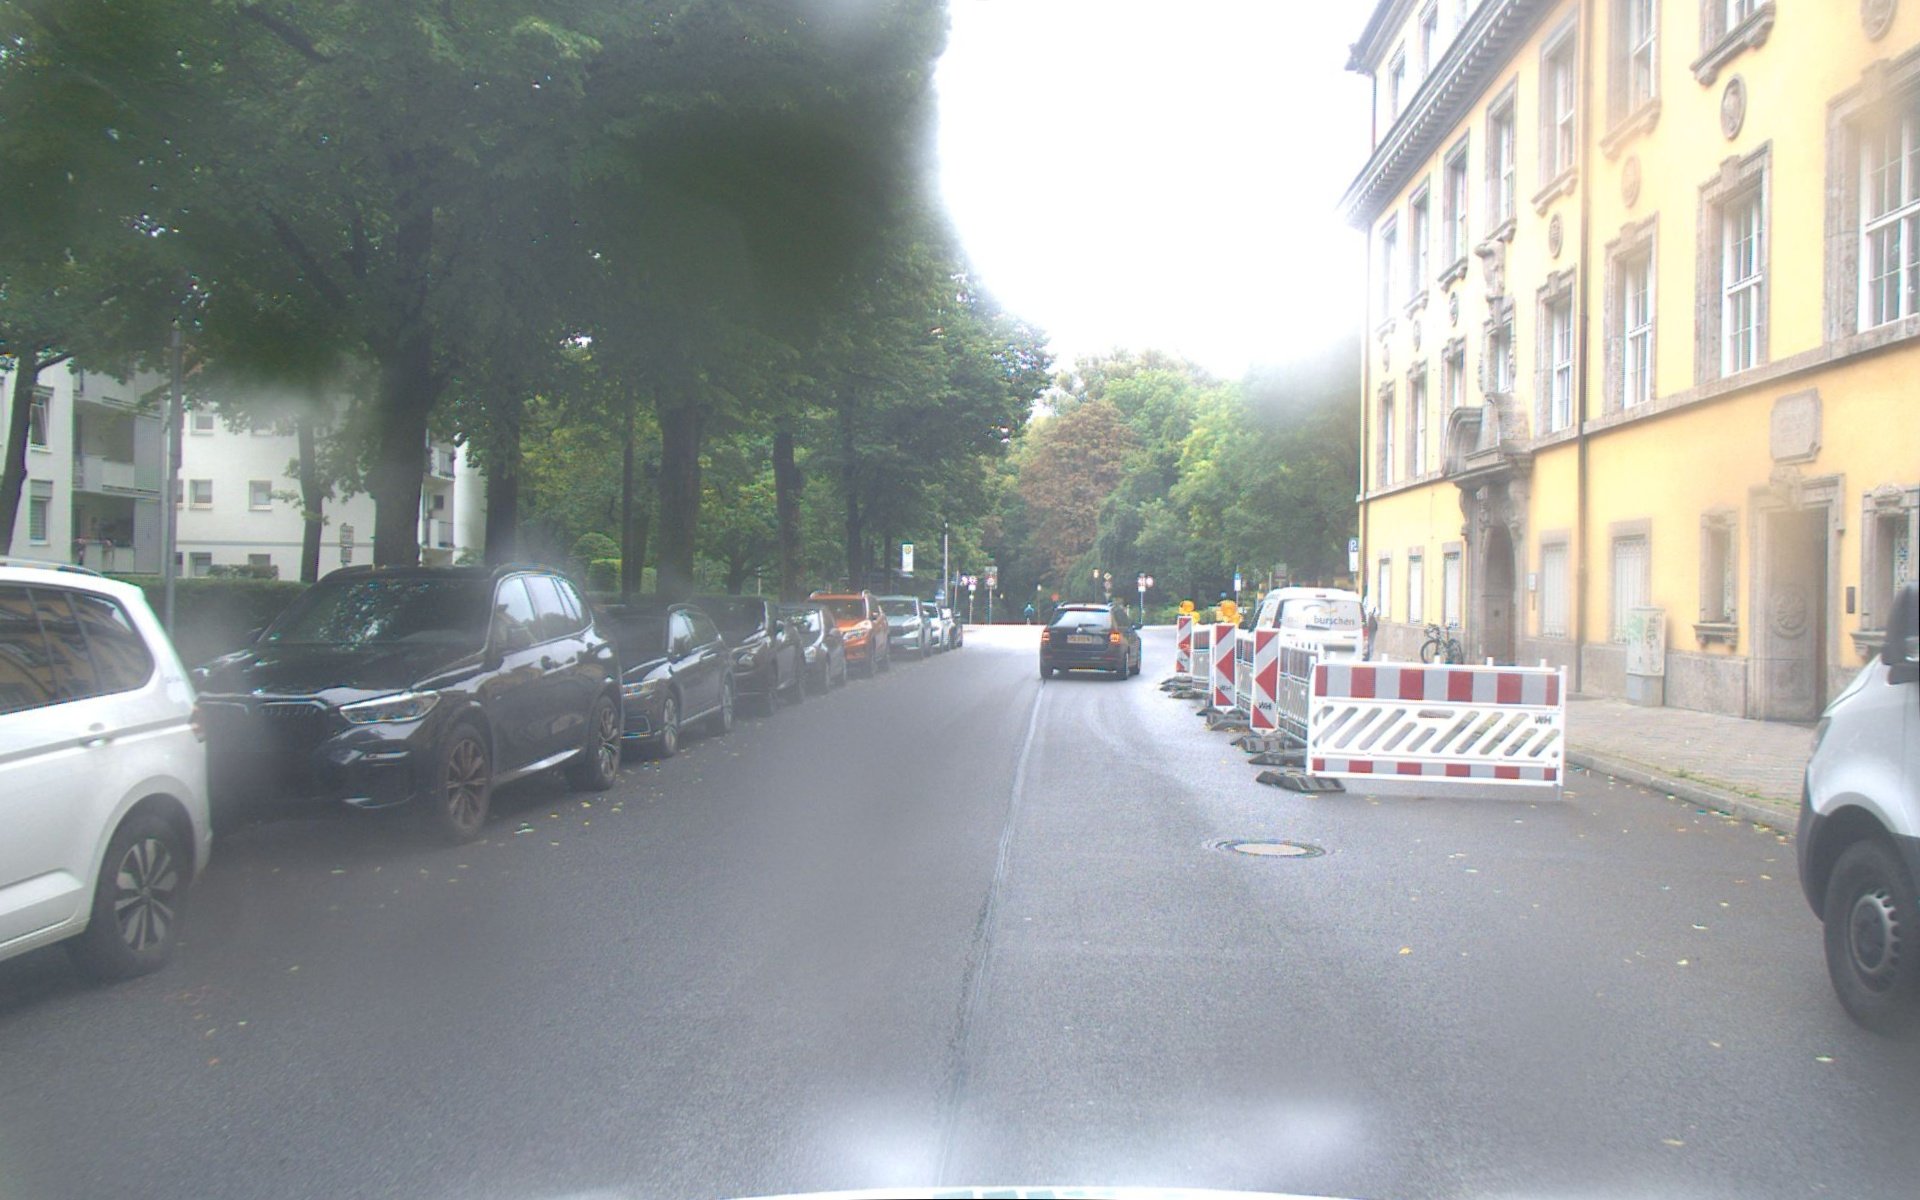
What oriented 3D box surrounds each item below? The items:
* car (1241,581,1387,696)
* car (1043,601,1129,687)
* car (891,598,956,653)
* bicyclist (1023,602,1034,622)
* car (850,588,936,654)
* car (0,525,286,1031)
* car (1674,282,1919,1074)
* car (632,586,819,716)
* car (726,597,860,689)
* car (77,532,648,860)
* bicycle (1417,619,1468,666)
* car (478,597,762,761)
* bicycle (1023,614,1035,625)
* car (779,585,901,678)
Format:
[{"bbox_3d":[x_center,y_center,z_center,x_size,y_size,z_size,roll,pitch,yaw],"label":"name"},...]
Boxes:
[{"bbox_3d":[5.920,0.636,28.133,1.703,1.780,4.357,1,-1,2],"label":"car"},{"bbox_3d":[2.577,0.843,33.236,1.544,1.611,4.047,1,0,7],"label":"car"},{"bbox_3d":[-1.038,0.728,48.726,1.544,1.523,4.201,1,0,3],"label":"car"},{"bbox_3d":[5.089,0.890,122.455,0.667,1.530,0.900,1,0,-5],"label":"bicyclist"},{"bbox_3d":[-1.687,0.531,43.217,1.777,1.629,4.515,1,0,3],"label":"car"},{"bbox_3d":[-4.035,0.599,5.095,1.728,1.650,4.525,-2,-1,5],"label":"car"},{"bbox_3d":[4.258,0.261,3.916,2.012,2.720,7.615,1,0,2],"label":"car"},{"bbox_3d":[-3.138,0.632,23.010,1.749,1.602,4.488,1,0,3],"label":"car"},{"bbox_3d":[-2.808,0.691,28.661,1.691,1.447,4.253,1,0,3],"label":"car"},{"bbox_3d":[-3.831,0.557,11.742,1.951,1.828,4.923,-1,0,4],"label":"car"},{"bbox_3d":[11.066,0.965,37.975,0.666,1.024,2.058,1,-1,3],"label":"bicycle"},{"bbox_3d":[-3.387,0.731,17.444,1.682,1.476,4.698,1,0,4],"label":"car"},{"bbox_3d":[5.098,1.442,122.375,0.666,0.844,2.107,1,-1,-5],"label":"bicycle"},{"bbox_3d":[-2.408,0.623,34.337,1.833,1.758,4.643,1,0,5],"label":"car"}]
